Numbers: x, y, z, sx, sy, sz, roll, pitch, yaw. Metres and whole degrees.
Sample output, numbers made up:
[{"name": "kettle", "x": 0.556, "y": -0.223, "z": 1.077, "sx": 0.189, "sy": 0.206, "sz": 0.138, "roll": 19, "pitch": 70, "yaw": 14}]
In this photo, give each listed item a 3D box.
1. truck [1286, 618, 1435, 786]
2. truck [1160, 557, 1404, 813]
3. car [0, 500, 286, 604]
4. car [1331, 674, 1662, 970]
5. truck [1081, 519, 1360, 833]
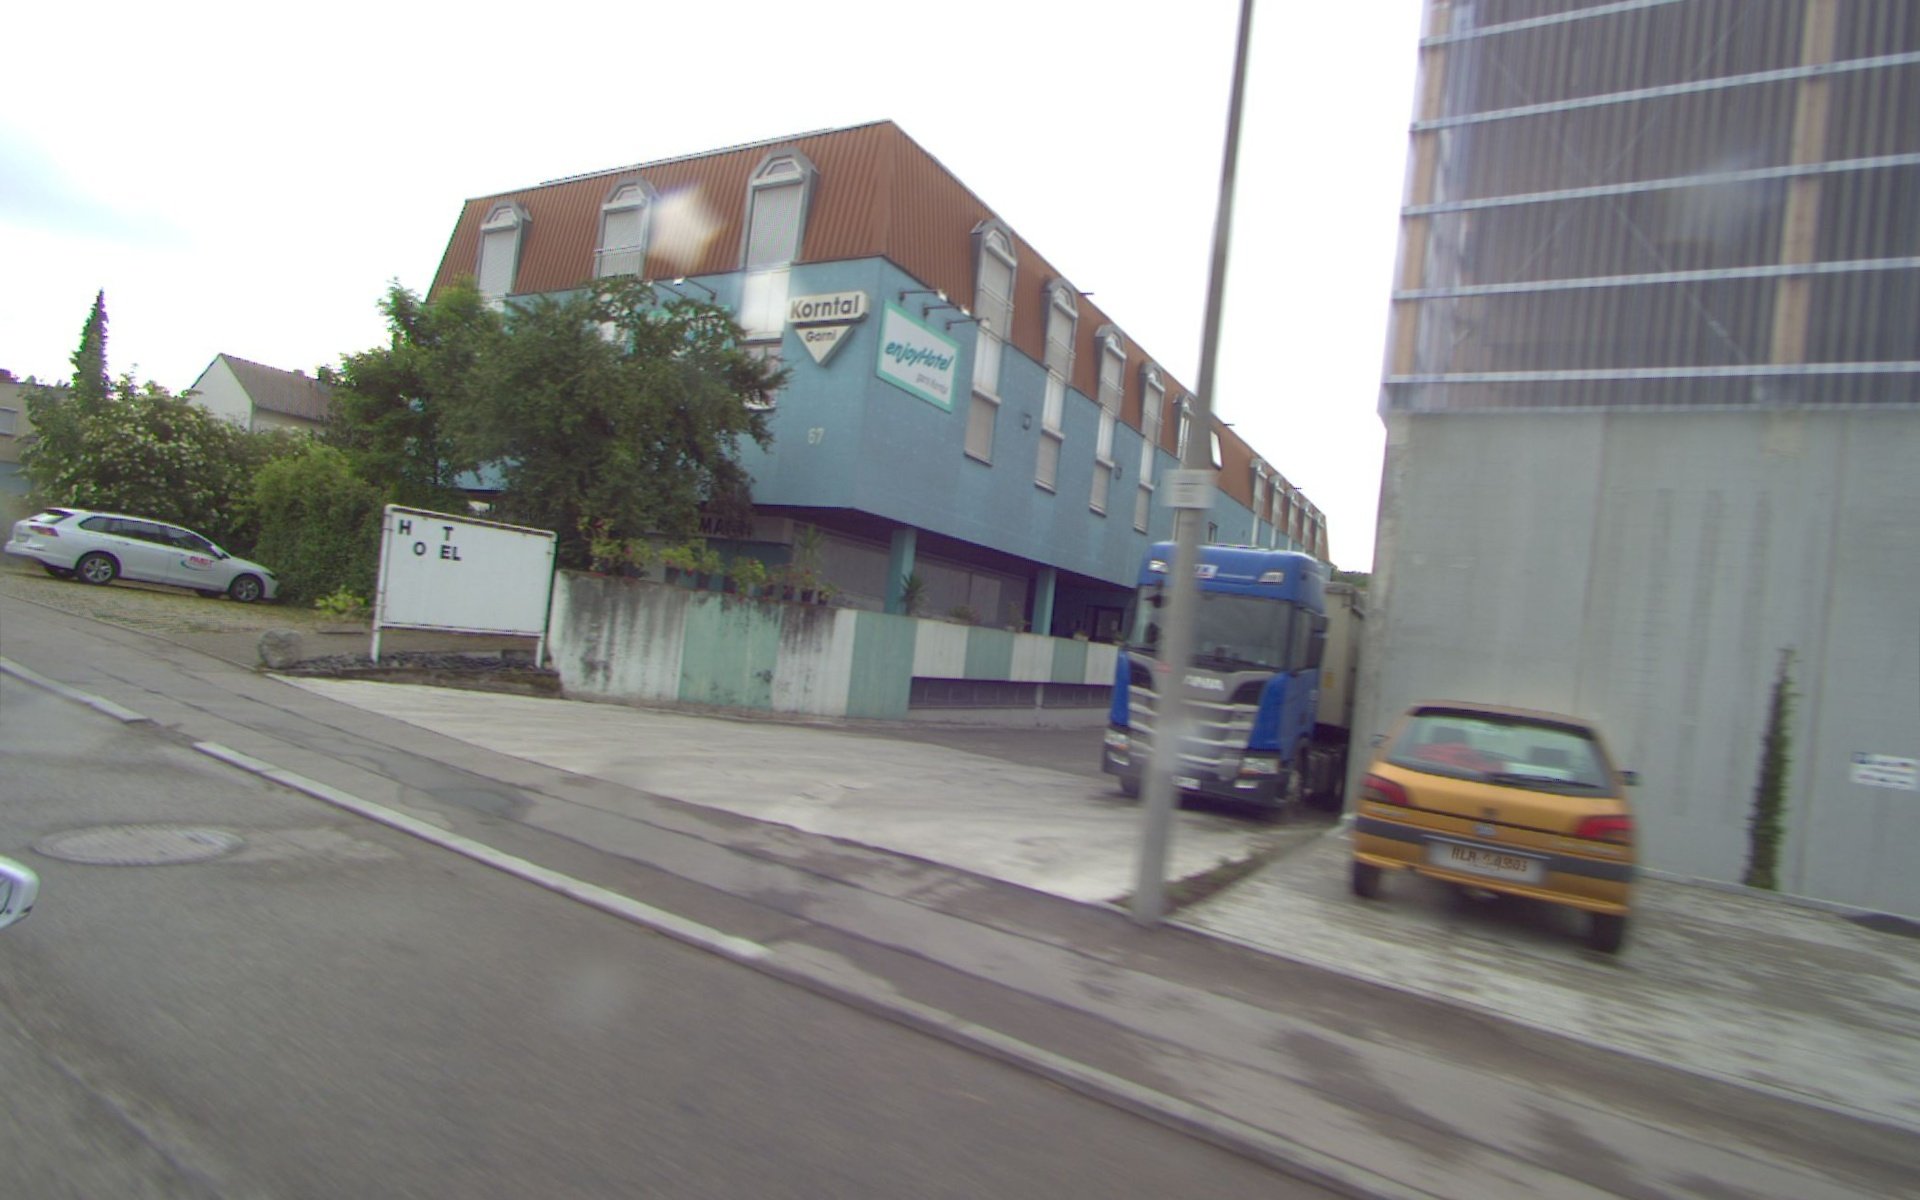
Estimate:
[{"name": "truck", "x": 11.479, "y": 2.938, "z": 28.490, "sx": 2.674, "sy": 3.963, "sz": 6.095, "roll": 6, "pitch": -3, "yaw": 30}, {"name": "truck", "x": 6.727, "y": 1.778, "z": 19.817, "sx": 2.676, "sy": 3.747, "sz": 8.562, "roll": 6, "pitch": -4, "yaw": 29}, {"name": "car", "x": -17.179, "y": -0.944, "z": 21.252, "sx": 1.848, "sy": 1.408, "sz": 4.427, "roll": 6, "pitch": -3, "yaw": 30}, {"name": "car", "x": 4.111, "y": 1.462, "z": 7.774, "sx": 1.603, "sy": 1.447, "sz": 3.997, "roll": 7, "pitch": -2, "yaw": 29}, {"name": "truck", "x": 3.999, "y": 1.159, "z": 14.763, "sx": 2.673, "sy": 3.711, "sz": 4.161, "roll": 7, "pitch": -4, "yaw": 28}]
